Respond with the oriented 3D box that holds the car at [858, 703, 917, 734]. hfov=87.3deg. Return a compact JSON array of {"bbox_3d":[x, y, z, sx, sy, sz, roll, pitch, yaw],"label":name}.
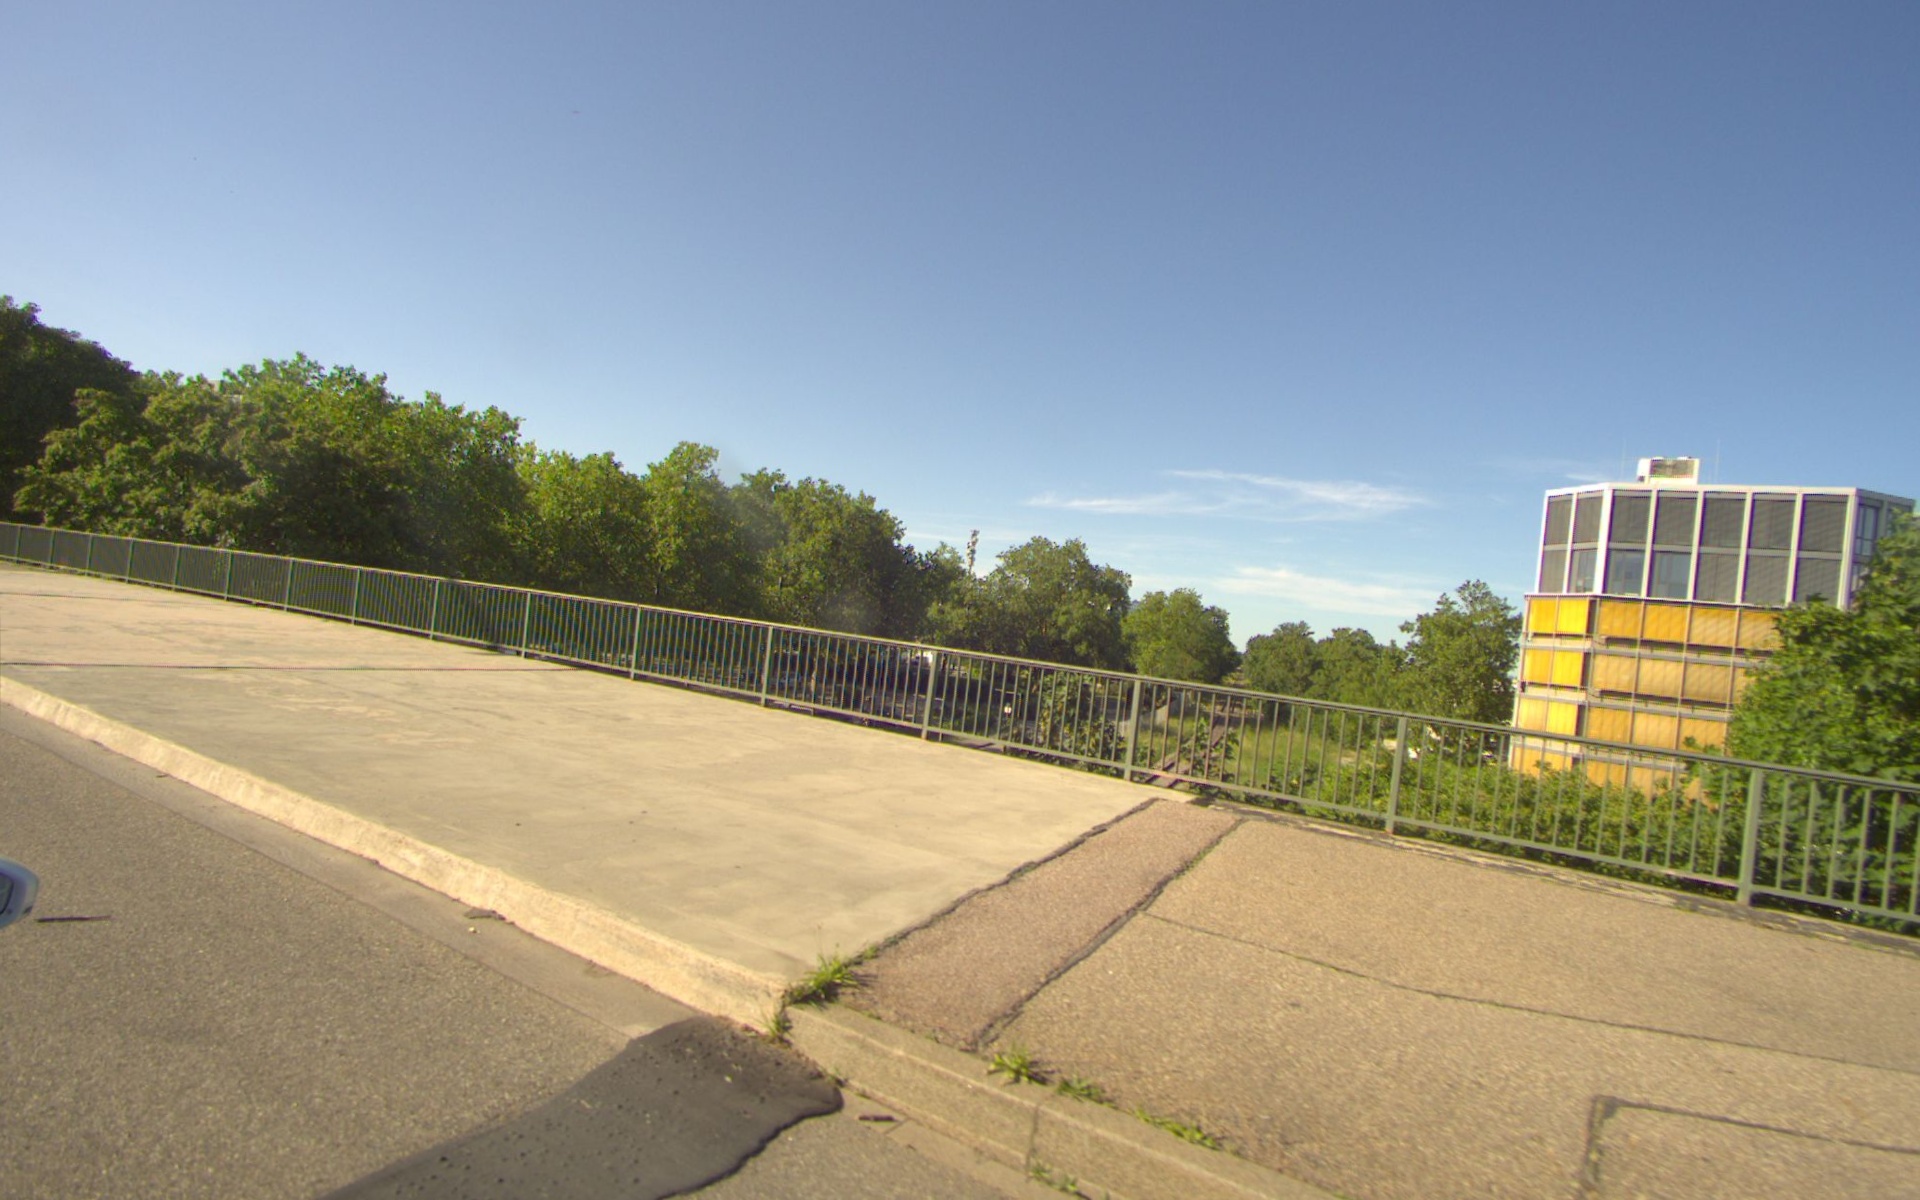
[{"bbox_3d":[-5.570,9.049,77.112,3.927,1.658,1.845,8,-2,23],"label":"car"}]
